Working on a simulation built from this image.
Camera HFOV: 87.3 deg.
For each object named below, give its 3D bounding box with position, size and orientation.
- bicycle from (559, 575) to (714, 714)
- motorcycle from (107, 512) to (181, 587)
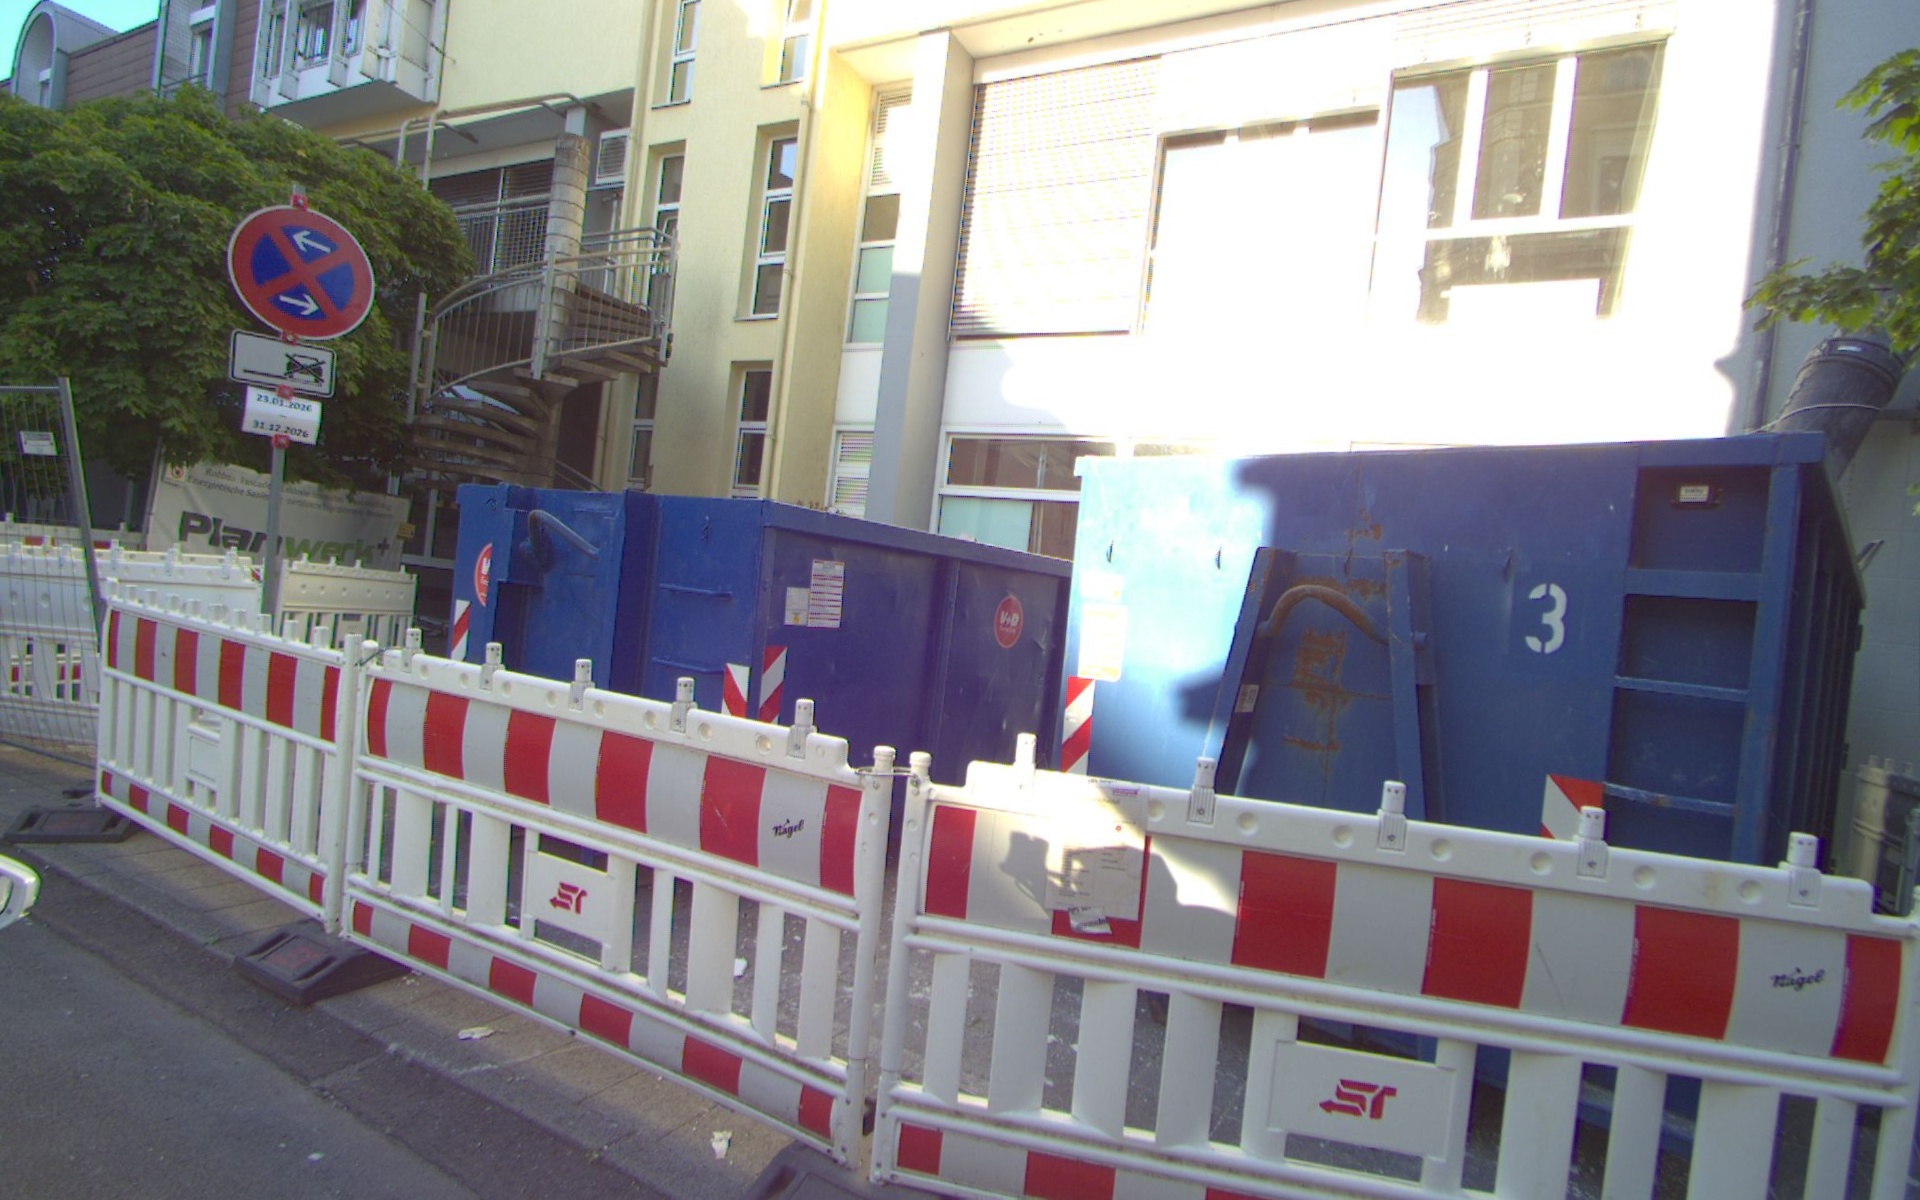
[{"bbox_3d":[-3.328,0.490,10.518,0.539,1.282,1.652,7,-2,18],"label":"bicycle"},{"bbox_3d":[-15.354,-0.964,18.908,0.866,1.237,2.428,6,0,-43],"label":"motorcycle"}]
